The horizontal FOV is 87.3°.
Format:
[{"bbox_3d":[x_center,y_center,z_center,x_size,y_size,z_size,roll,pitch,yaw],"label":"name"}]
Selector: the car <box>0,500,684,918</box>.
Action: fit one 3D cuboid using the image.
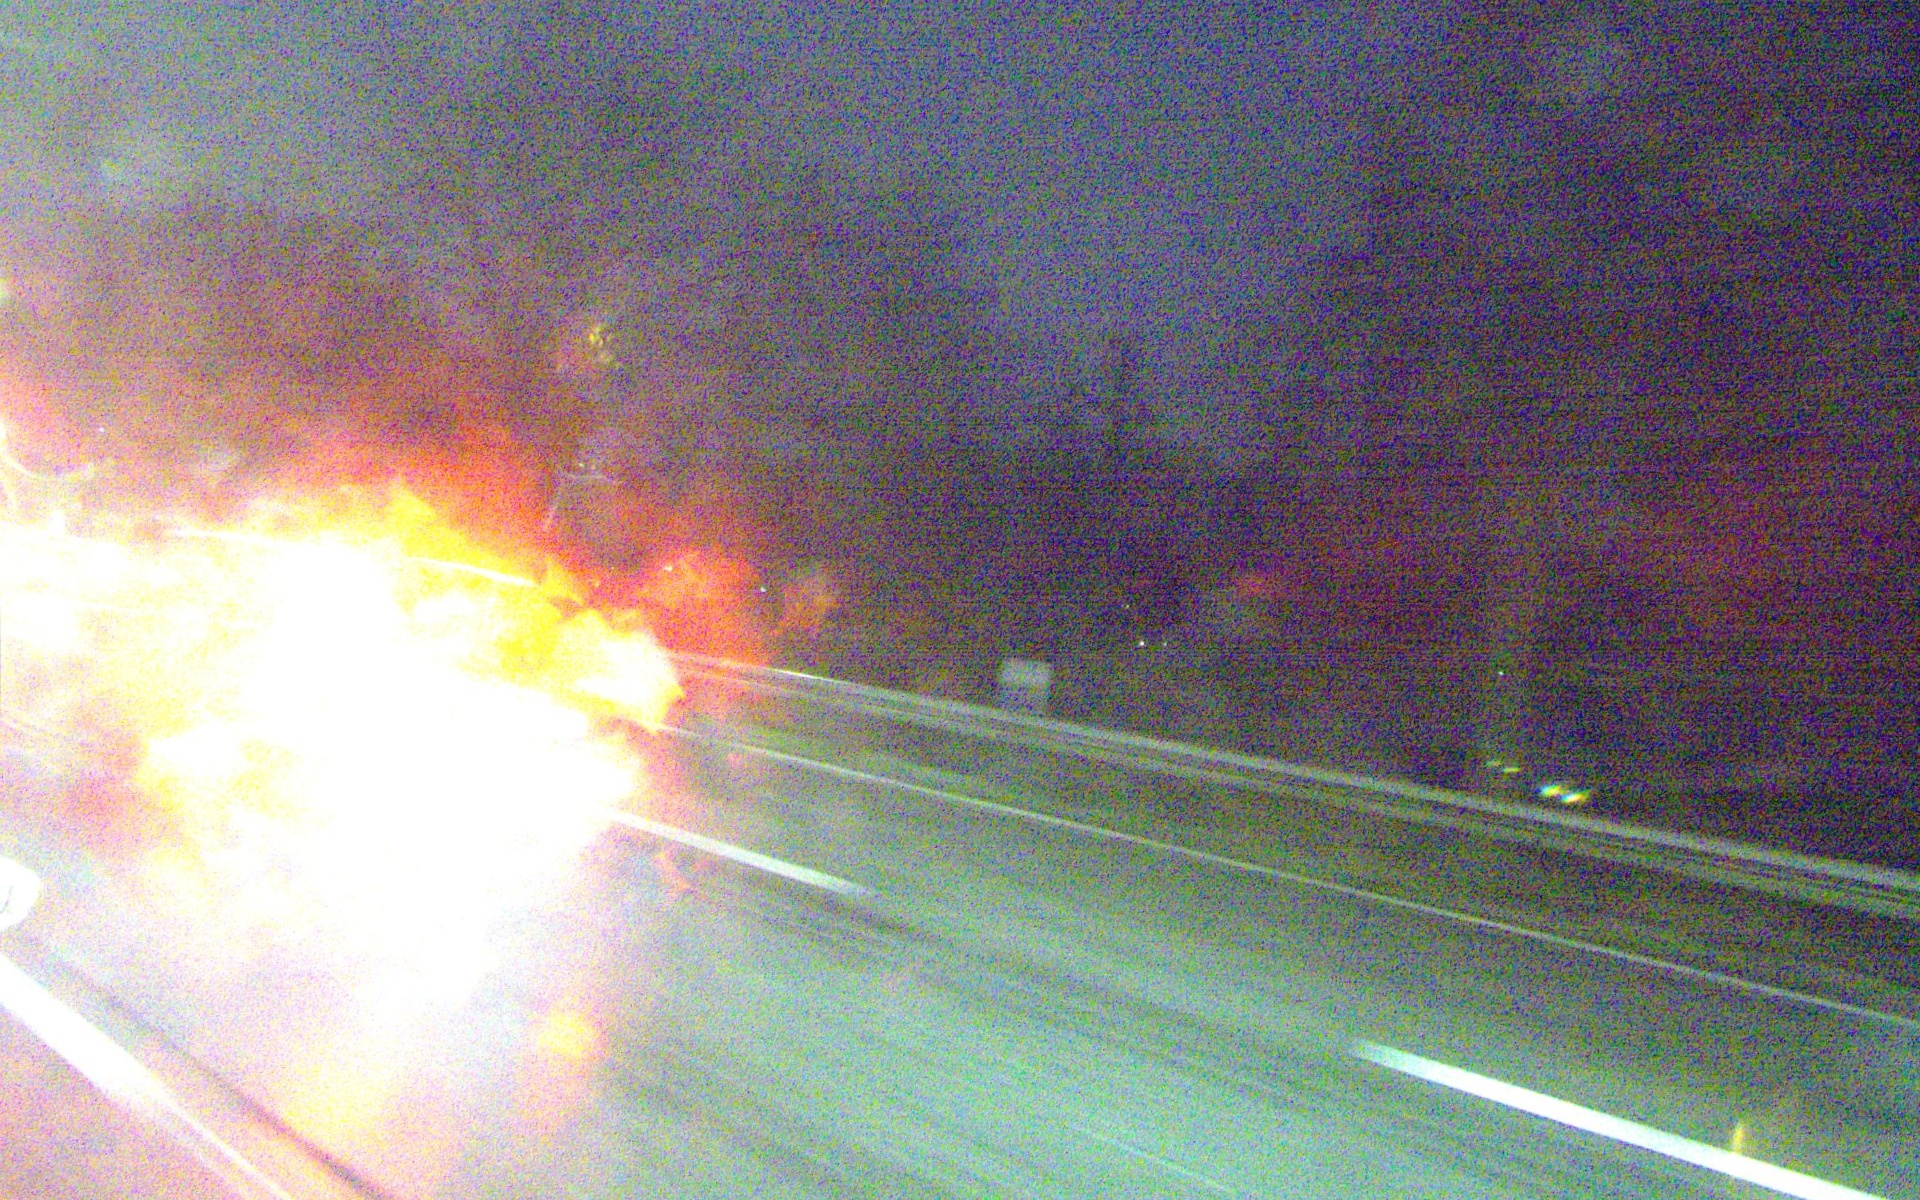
[{"bbox_3d":[-4.026,0.378,5.906,4.644,1.466,1.736,7,-1,29],"label":"car"}]
